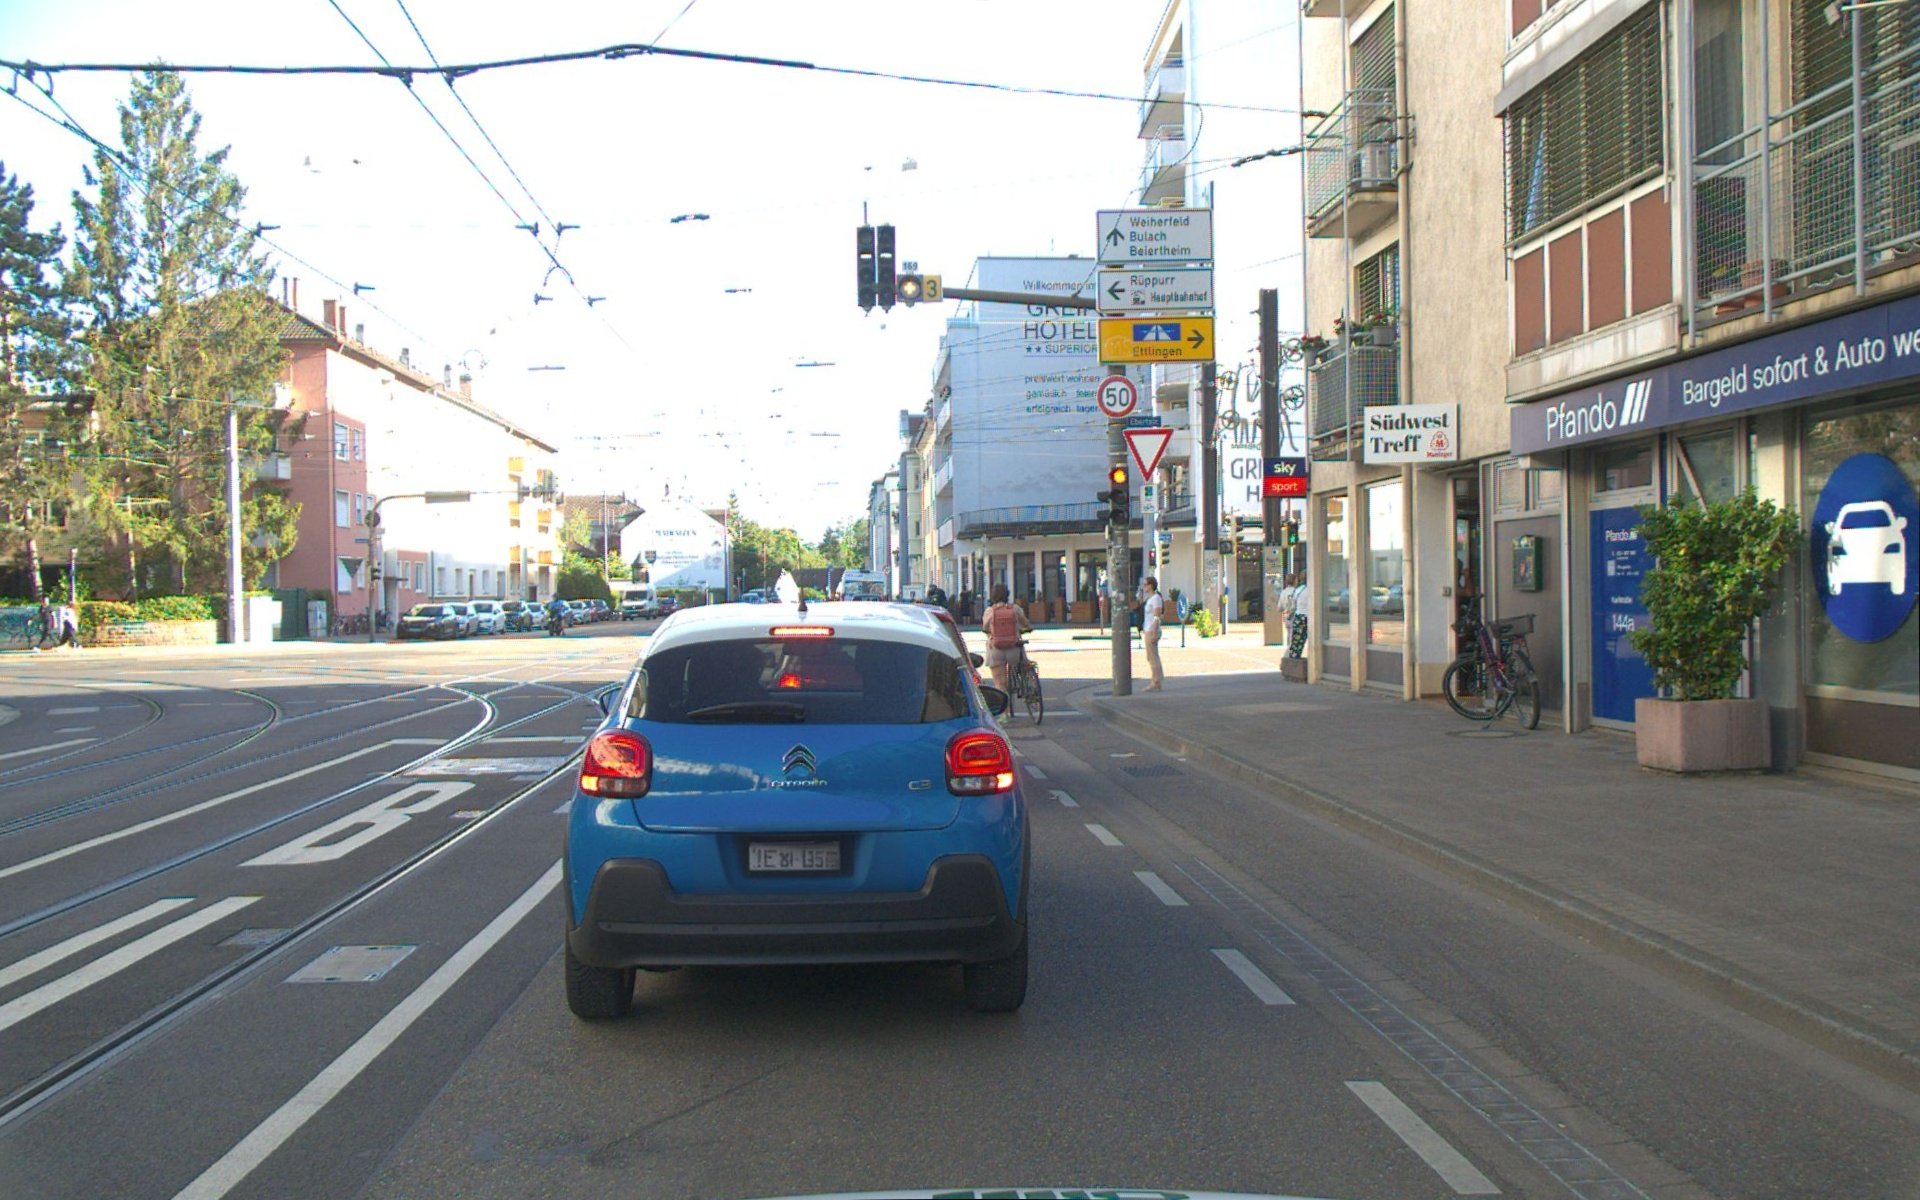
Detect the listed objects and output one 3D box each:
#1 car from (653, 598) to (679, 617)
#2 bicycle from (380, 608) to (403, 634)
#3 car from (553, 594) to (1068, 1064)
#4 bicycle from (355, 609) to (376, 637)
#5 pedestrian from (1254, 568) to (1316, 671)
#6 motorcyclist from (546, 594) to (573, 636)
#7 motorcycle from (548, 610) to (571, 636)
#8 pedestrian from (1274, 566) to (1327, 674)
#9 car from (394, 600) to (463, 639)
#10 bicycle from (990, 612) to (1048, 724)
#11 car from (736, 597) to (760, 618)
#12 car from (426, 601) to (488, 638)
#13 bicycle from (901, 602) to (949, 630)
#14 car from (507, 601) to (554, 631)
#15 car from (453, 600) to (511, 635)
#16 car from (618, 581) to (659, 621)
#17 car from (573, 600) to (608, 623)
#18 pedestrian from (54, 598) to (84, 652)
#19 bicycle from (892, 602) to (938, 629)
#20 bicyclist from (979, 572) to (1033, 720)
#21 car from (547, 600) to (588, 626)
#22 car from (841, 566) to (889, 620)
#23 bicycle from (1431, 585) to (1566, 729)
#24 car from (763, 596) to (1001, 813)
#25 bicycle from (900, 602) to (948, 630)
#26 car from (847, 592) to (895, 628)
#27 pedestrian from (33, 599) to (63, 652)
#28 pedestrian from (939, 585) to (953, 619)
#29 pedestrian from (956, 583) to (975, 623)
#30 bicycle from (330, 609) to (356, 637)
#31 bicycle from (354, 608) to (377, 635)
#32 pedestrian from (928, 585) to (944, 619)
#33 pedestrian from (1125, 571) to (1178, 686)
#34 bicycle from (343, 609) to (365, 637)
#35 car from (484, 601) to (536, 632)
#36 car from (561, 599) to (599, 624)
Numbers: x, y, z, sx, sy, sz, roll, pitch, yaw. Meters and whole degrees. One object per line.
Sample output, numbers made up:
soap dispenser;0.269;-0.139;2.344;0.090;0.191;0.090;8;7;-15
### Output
car;-25.572;0.631;144.165;1.913;1.545;3.995;-1;0;-6
bicycle;-25.672;0.936;74.692;0.597;1.101;1.908;-1;0;-7
car;-0.615;0.733;7.349;1.647;1.488;3.997;1;0;-4
bicycle;-24.230;0.932;67.415;0.527;1.101;1.905;-1;0;-11
pedestrian;5.435;0.316;27.676;0.694;1.676;0.730;-1;0;-36
motorcyclist;-16.206;0.602;66.952;0.973;1.659;0.737;-1;0;-10
motorcycle;-16.226;0.935;67.020;0.738;0.993;2.092;-1;0;-9
pedestrian;5.401;0.317;26.201;0.722;1.676;0.754;-1;0;18
car;-22.015;0.787;68.650;1.913;1.545;3.995;-1;0;-6
bicycle;0.719;0.814;20.635;0.601;1.286;1.910;-1;0;-1
car;-21.808;0.791;170.492;2.293;2.074;5.044;-1;0;-6
car;-22.554;0.871;74.255;1.913;1.545;4.040;-1;0;-6
bicycle;-1.394;0.634;65.778;1.868;1.083;0.641;-1;0;-8
car;-23.763;0.849;91.567;1.913;1.545;3.995;-1;0;-6
car;-22.756;0.815;78.861;1.913;1.545;3.995;-1;0;-6
car;-23.222;0.057;119.576;2.446;2.759;5.828;-1;0;-7
car;-25.565;0.779;114.593;1.913;1.545;3.995;-1;0;-6
pedestrian;-29.056;0.807;53.959;0.798;1.732;0.602;-1;0;-25
bicycle;-1.861;0.636;68.269;1.868;1.083;0.641;-1;0;-8
bicyclist;0.566;0.552;20.594;0.588;1.776;1.084;-1;0;-1
car;-24.408;0.800;102.989;1.913;1.545;3.995;-1;0;-6
car;-4.231;-0.324;73.177;2.039;2.309;5.646;0;0;-4
bicycle;5.111;0.505;15.817;0.627;1.286;1.910;-1;0;-1
car;-0.681;0.728;13.557;1.647;1.488;3.997;1;0;-4
bicycle;-1.446;0.659;67.083;1.868;1.083;0.641;-1;0;-8
car;-3.676;0.378;67.738;1.752;1.383;3.909;-1;0;-6
pedestrian;-30.135;0.841;54.651;0.798;1.732;0.629;-1;0;-25
pedestrian;-0.586;0.078;69.991;0.459;1.445;0.525;-1;0;-13
pedestrian;0.229;0.140;70.128;0.551;1.676;0.529;-1;0;-45
bicycle;-24.982;0.915;66.990;0.628;1.101;1.905;-1;0;-11
bicycle;-25.874;0.923;71.986;0.527;1.101;1.908;-1;0;-7
pedestrian;-1.011;0.083;70.236;0.514;1.445;0.547;-1;0;19
pedestrian;2.824;0.412;24.406;0.735;1.663;0.740;-1;0;5
bicycle;-24.589;0.925;67.116;0.527;1.101;1.905;-1;0;-11
car;-23.233;0.834;85.518;1.913;1.545;3.995;-1;0;-6
car;-24.849;0.741;108.262;1.913;1.545;3.995;-1;0;-6
